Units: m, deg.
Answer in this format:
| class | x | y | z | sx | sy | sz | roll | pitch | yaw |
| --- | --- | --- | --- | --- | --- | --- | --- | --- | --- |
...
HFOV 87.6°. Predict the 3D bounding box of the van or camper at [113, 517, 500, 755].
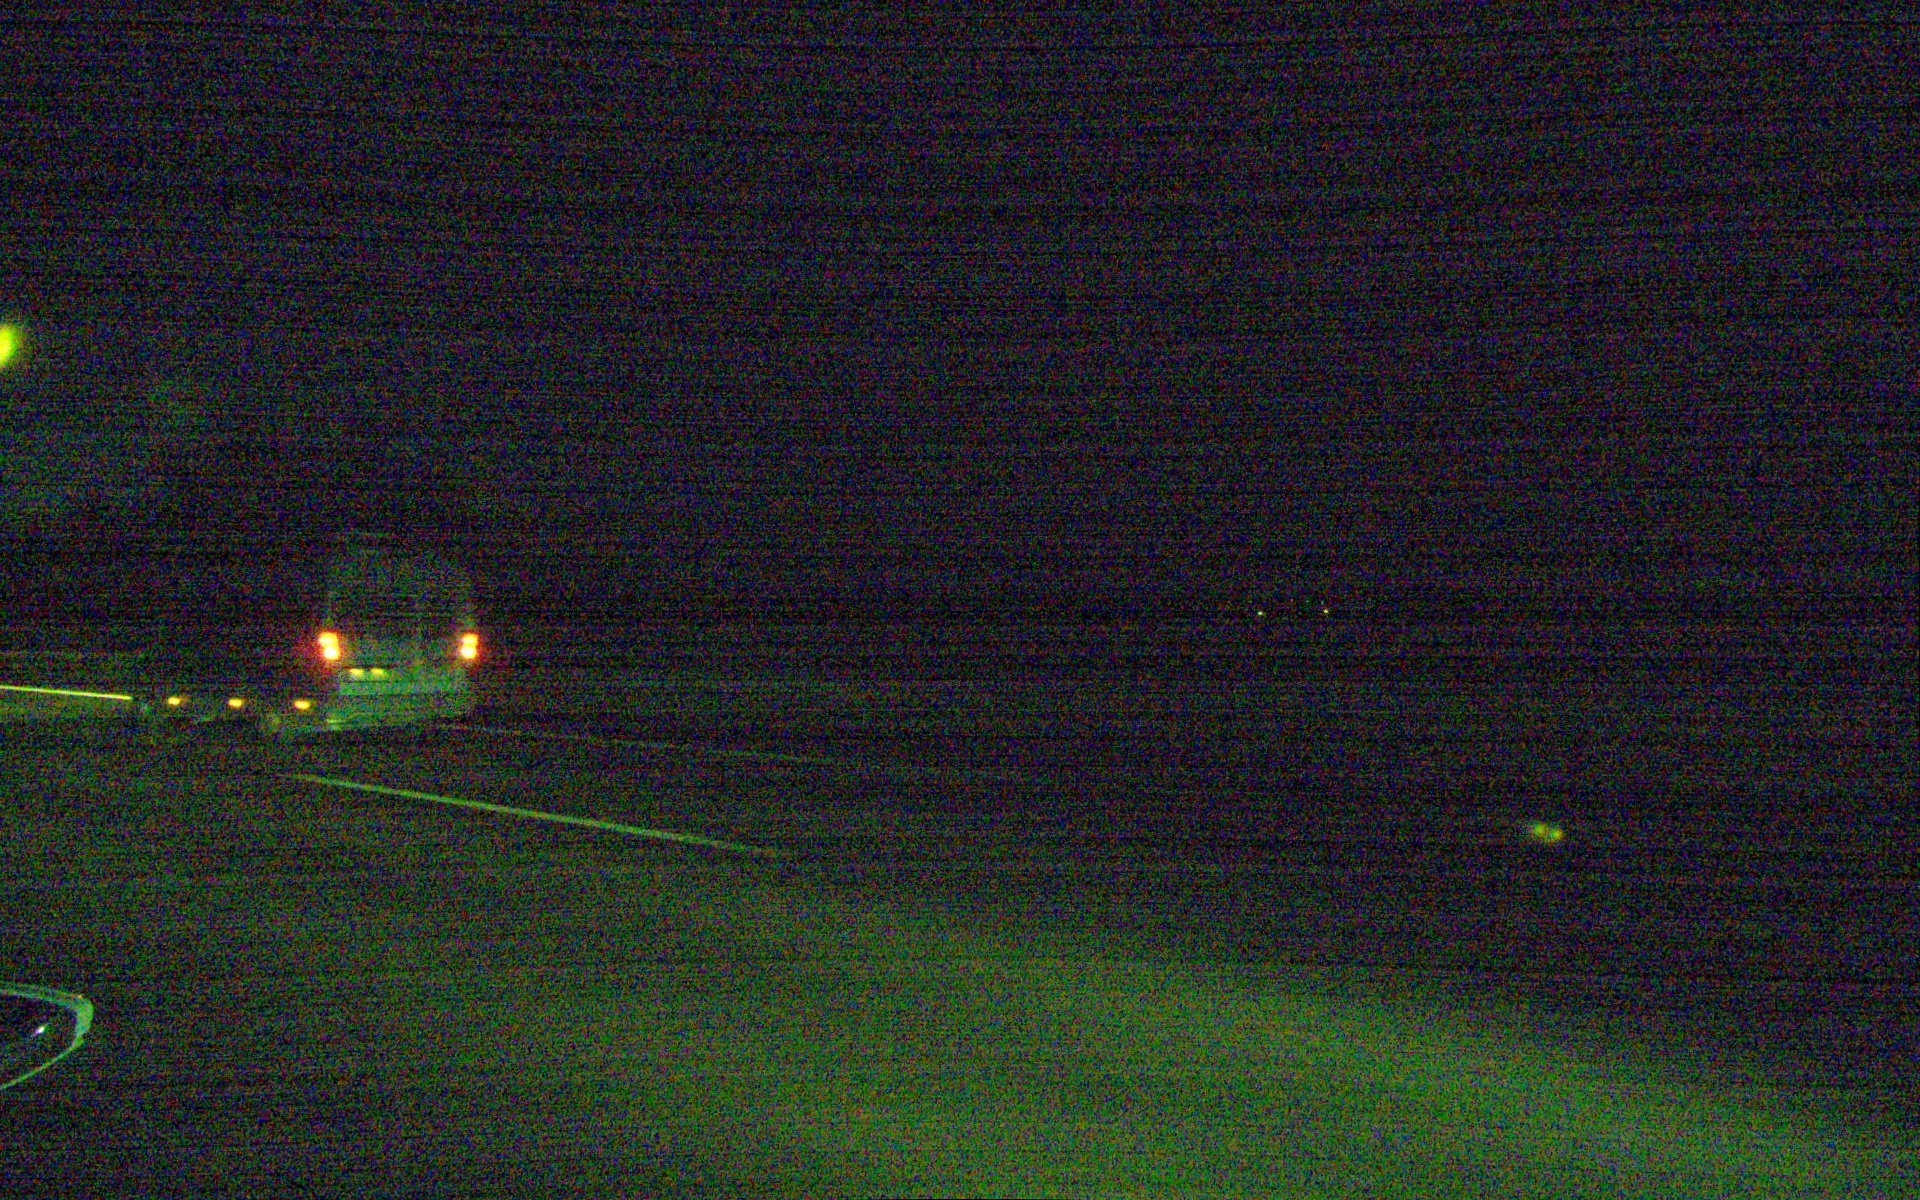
| class | x | y | z | sx | sy | sz | roll | pitch | yaw |
| --- | --- | --- | --- | --- | --- | --- | --- | --- | --- |
| van or camper | -9.678 | 0.489 | 14.566 | 6.708 | 2.807 | 2.203 | -1 | -1 | 33 |
